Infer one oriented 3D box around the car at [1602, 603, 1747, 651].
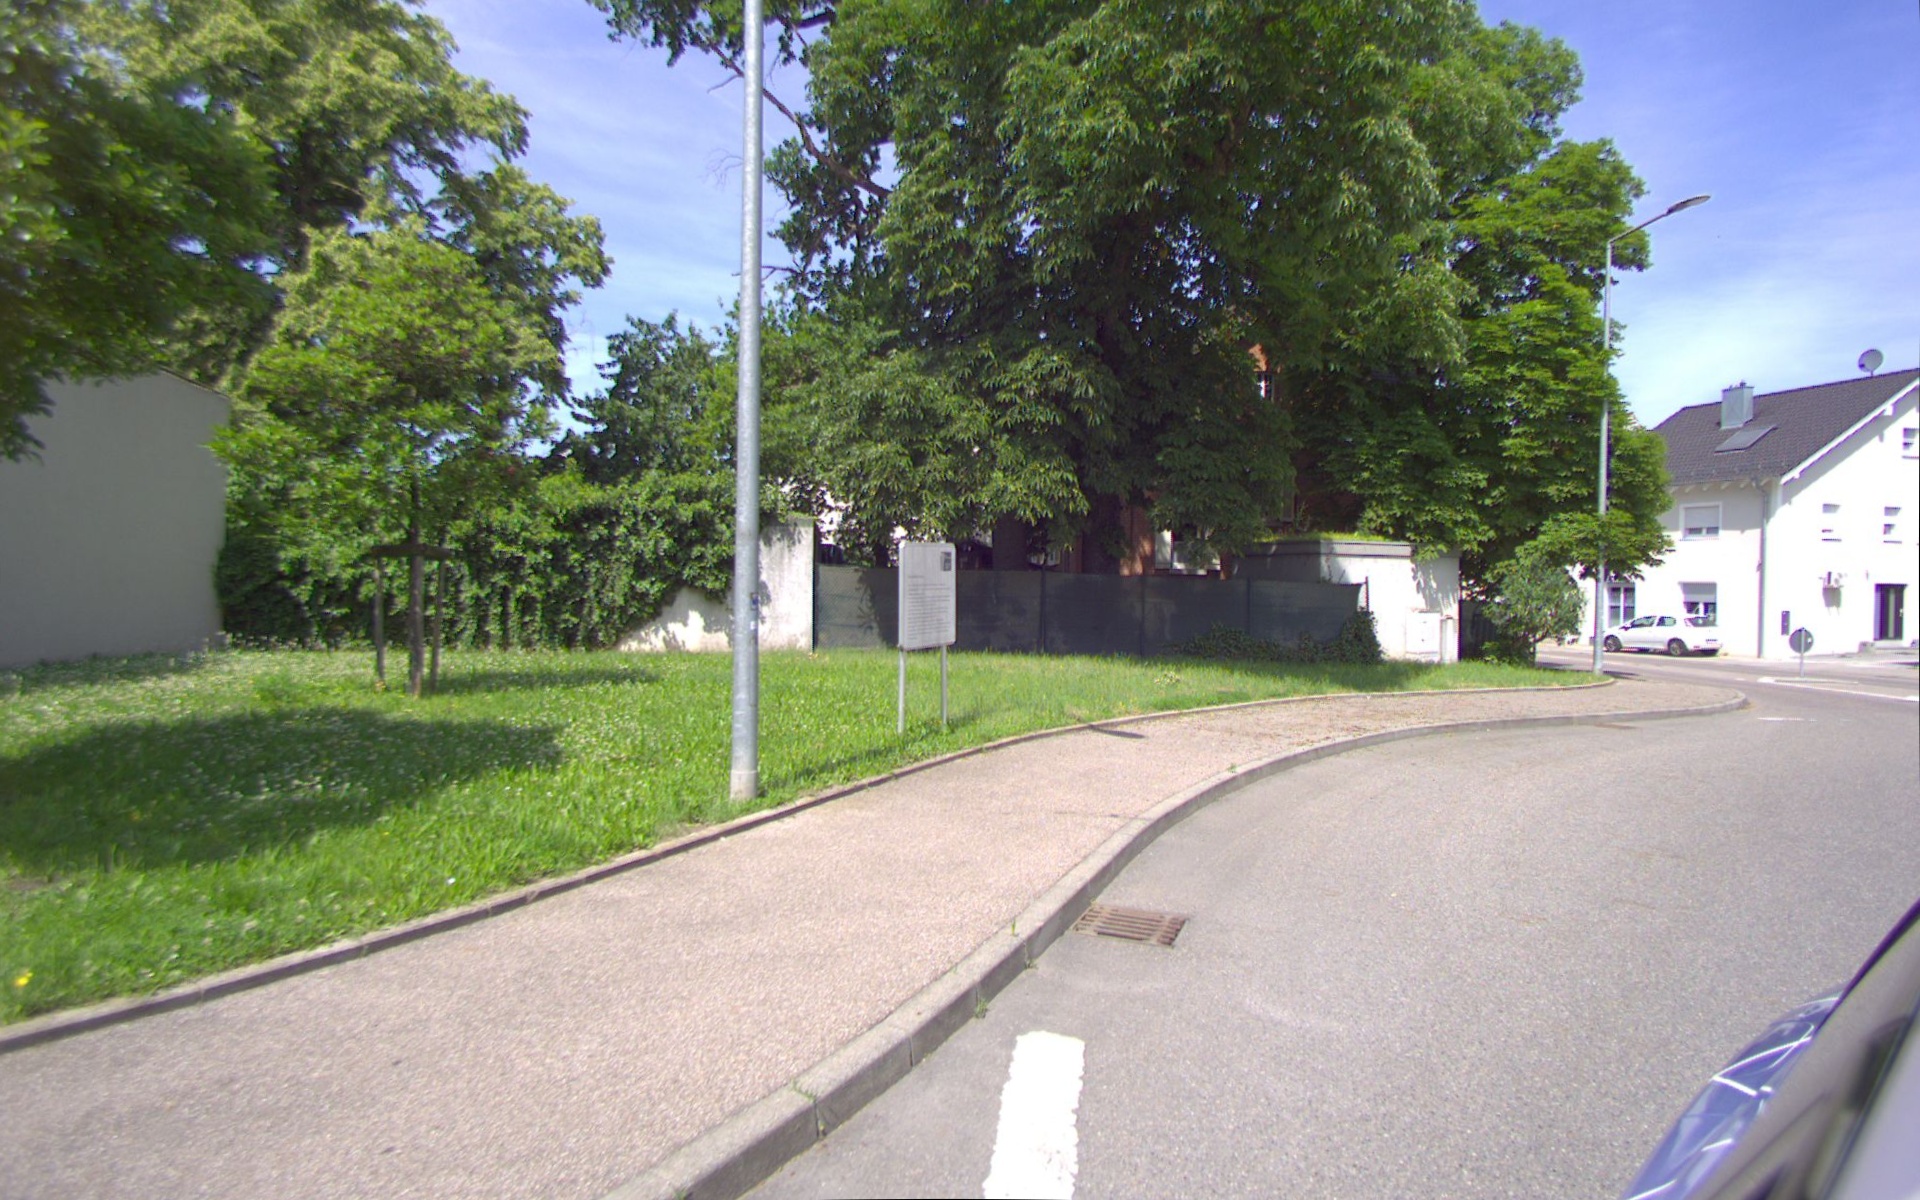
[{"bbox_3d":[25.583,0.931,36.400,1.788,1.521,4.008,-1,1,-15],"label":"car"}]
